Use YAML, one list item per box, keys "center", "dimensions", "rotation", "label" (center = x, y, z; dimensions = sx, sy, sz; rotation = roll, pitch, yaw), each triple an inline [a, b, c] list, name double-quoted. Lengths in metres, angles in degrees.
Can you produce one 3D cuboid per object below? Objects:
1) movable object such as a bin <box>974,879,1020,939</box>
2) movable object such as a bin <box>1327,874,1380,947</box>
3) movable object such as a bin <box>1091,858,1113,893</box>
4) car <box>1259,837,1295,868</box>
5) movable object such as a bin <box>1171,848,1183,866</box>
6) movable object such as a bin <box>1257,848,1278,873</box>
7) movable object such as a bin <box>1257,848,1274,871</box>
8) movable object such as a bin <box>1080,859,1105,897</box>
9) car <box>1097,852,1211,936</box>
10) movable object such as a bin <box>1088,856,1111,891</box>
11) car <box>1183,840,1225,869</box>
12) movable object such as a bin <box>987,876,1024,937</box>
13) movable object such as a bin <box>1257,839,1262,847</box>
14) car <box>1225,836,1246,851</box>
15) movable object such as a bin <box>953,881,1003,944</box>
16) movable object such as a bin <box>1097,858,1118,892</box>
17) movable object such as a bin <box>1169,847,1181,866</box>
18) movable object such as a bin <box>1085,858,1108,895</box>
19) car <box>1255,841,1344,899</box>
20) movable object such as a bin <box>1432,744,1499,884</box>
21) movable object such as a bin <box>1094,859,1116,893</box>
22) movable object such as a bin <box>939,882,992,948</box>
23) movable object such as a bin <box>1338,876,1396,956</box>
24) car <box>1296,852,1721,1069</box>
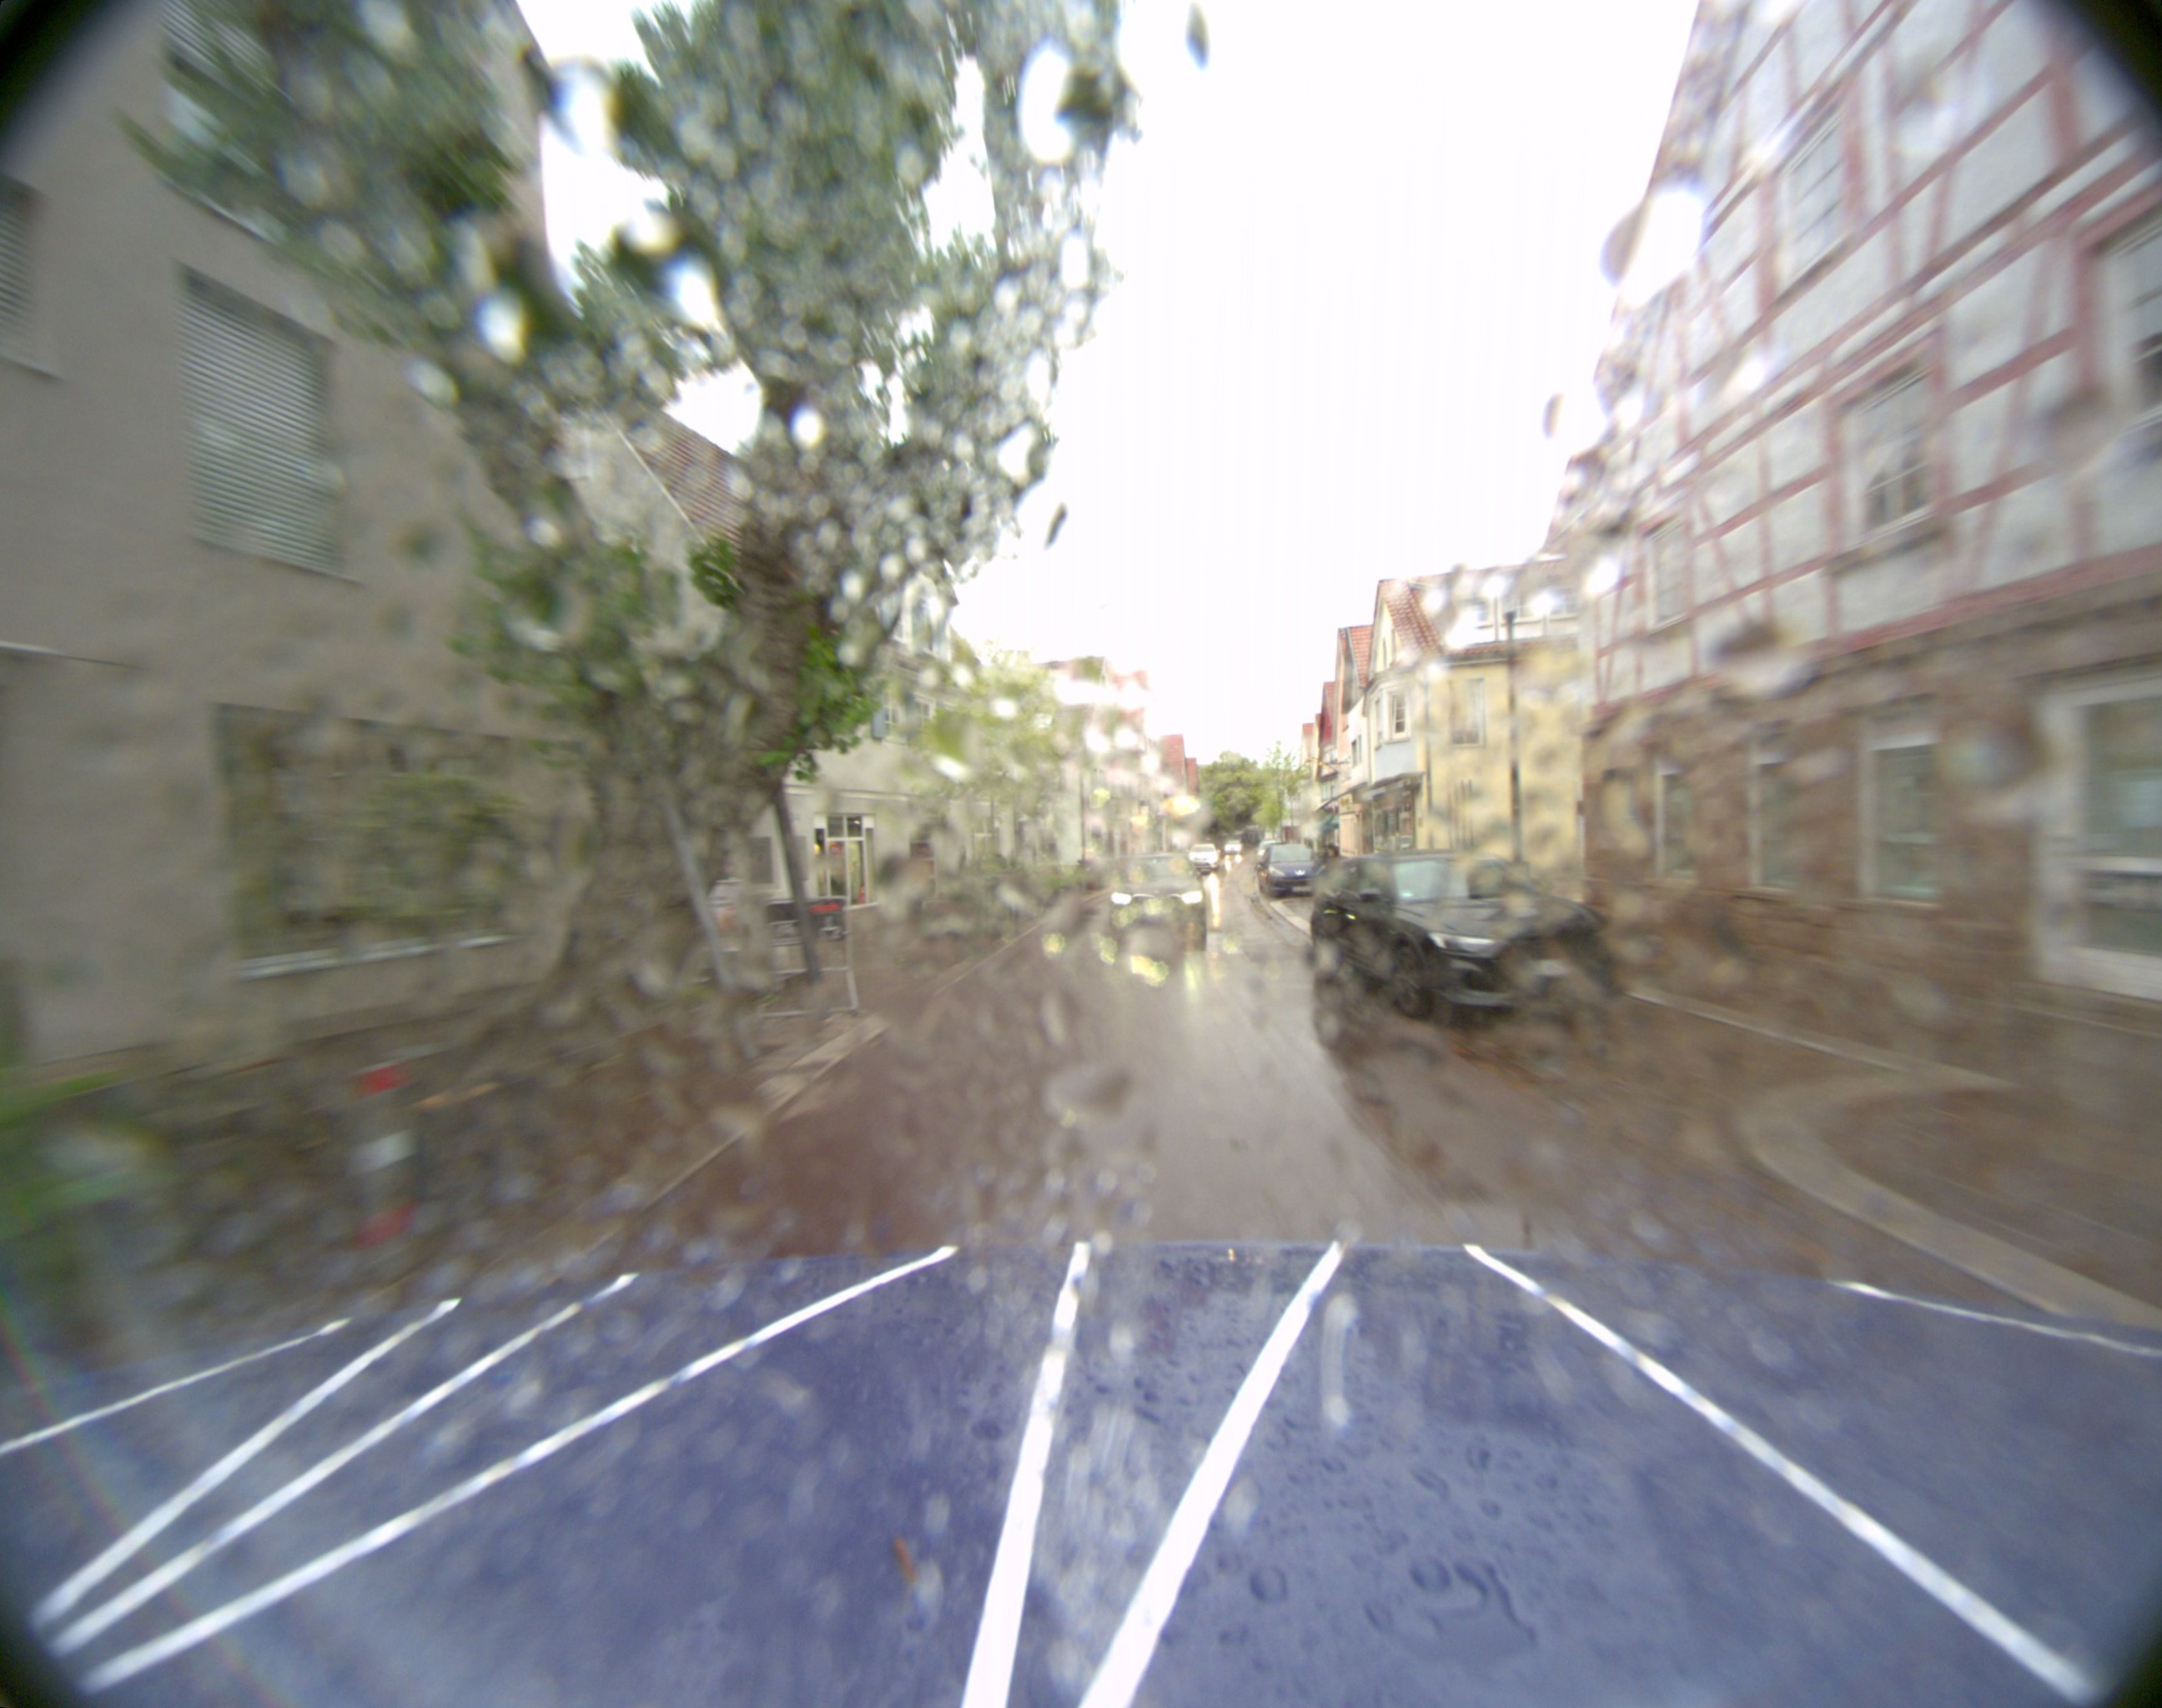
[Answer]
- center: [-1.607, 1.049, 14.608]
  dimensions: [0.694, 1.096, 0.562]
  rotation: [-2, 3, 11]
  label: "movable object such as a bin"
- center: [4.428, 0.905, 12.396]
  dimensions: [0.631, 1.107, 0.734]
  rotation: [-2, 2, 5]
  label: "movable object such as a bin"
- center: [0.791, 0.783, 28.114]
  dimensions: [0.679, 1.249, 0.543]
  rotation: [-2, 3, 13]
  label: "movable object such as a bin"
- center: [11.198, -0.106, 43.393]
  dimensions: [1.829, 1.558, 4.003]
  rotation: [-2, 2, 15]
  label: "car"
- center: [6.366, 0.196, 50.316]
  dimensions: [0.719, 1.195, 0.573]
  rotation: [-2, 3, 15]
  label: "movable object such as a bin"
- center: [8.992, 0.294, 36.636]
  dimensions: [0.816, 1.100, 0.610]
  rotation: [-5, 2, 9]
  label: "movable object such as a bin"
- center: [9.452, 0.278, 38.951]
  dimensions: [0.816, 1.100, 0.610]
  rotation: [-2, 3, 9]
  label: "movable object such as a bin"
- center: [0.390, 0.818, 26.331]
  dimensions: [0.679, 1.234, 0.732]
  rotation: [-2, 3, 13]
  label: "movable object such as a bin"
- center: [1.684, 0.730, 16.143]
  dimensions: [1.997, 1.398, 4.896]
  rotation: [-2, 1, 9]
  label: "car"
- center: [0.676, 0.700, 27.555]
  dimensions: [0.679, 1.225, 0.565]
  rotation: [-2, 3, 13]
  label: "movable object such as a bin"
- center: [7.206, -0.003, 44.268]
  dimensions: [1.996, 1.445, 4.003]
  rotation: [-2, 2, 15]
  label: "car"
- center: [-1.496, 1.033, 15.184]
  dimensions: [0.544, 1.149, 0.577]
  rotation: [-2, 3, 11]
  label: "movable object such as a bin"
- center: [25.483, -1.524, 108.572]
  dimensions: [0.544, 1.143, 0.586]
  rotation: [0, 3, 40]
  label: "movable object such as a bin"
- center: [17.057, -1.164, 83.739]
  dimensions: [1.996, 1.445, 4.003]
  rotation: [-2, 2, 15]
  label: "car"
- center: [-1.896, 1.068, 14.060]
  dimensions: [0.730, 1.096, 0.562]
  rotation: [-2, 3, 11]
  label: "movable object such as a bin"
- center: [1.030, 0.809, 29.234]
  dimensions: [0.659, 1.232, 0.621]
  rotation: [-2, 3, 13]
  label: "movable object such as a bin"
- center: [6.147, 0.184, 49.665]
  dimensions: [0.719, 1.195, 0.579]
  rotation: [-2, 3, 15]
  label: "movable object such as a bin"
- center: [0.546, 0.789, 26.999]
  dimensions: [0.679, 1.243, 0.565]
  rotation: [-2, 3, 13]
  label: "movable object such as a bin"
- center: [6.398, 0.417, 22.686]
  dimensions: [1.997, 1.463, 4.002]
  rotation: [-3, 1, 8]
  label: "car"
- center: [5.730, -0.586, 11.361]
  dimensions: [0.631, 2.003, 0.747]
  rotation: [-2, 3, 5]
  label: "movable object such as a bin"
- center: [0.905, 0.820, 28.660]
  dimensions: [0.659, 1.238, 0.543]
  rotation: [-2, 3, 13]
  label: "movable object such as a bin"
- center: [-2.007, 1.064, 13.271]
  dimensions: [0.730, 1.074, 0.577]
  rotation: [-2, 3, 11]
  label: "movable object such as a bin"
- center: [4.333, 0.931, 11.540]
  dimensions: [0.631, 1.116, 0.734]
  rotation: [-2, 2, 5]
  label: "movable object such as a bin"
- center: [3.799, 0.800, 7.733]
  dimensions: [1.998, 1.486, 3.999]
  rotation: [-4, 1, 0]
  label: "car"
